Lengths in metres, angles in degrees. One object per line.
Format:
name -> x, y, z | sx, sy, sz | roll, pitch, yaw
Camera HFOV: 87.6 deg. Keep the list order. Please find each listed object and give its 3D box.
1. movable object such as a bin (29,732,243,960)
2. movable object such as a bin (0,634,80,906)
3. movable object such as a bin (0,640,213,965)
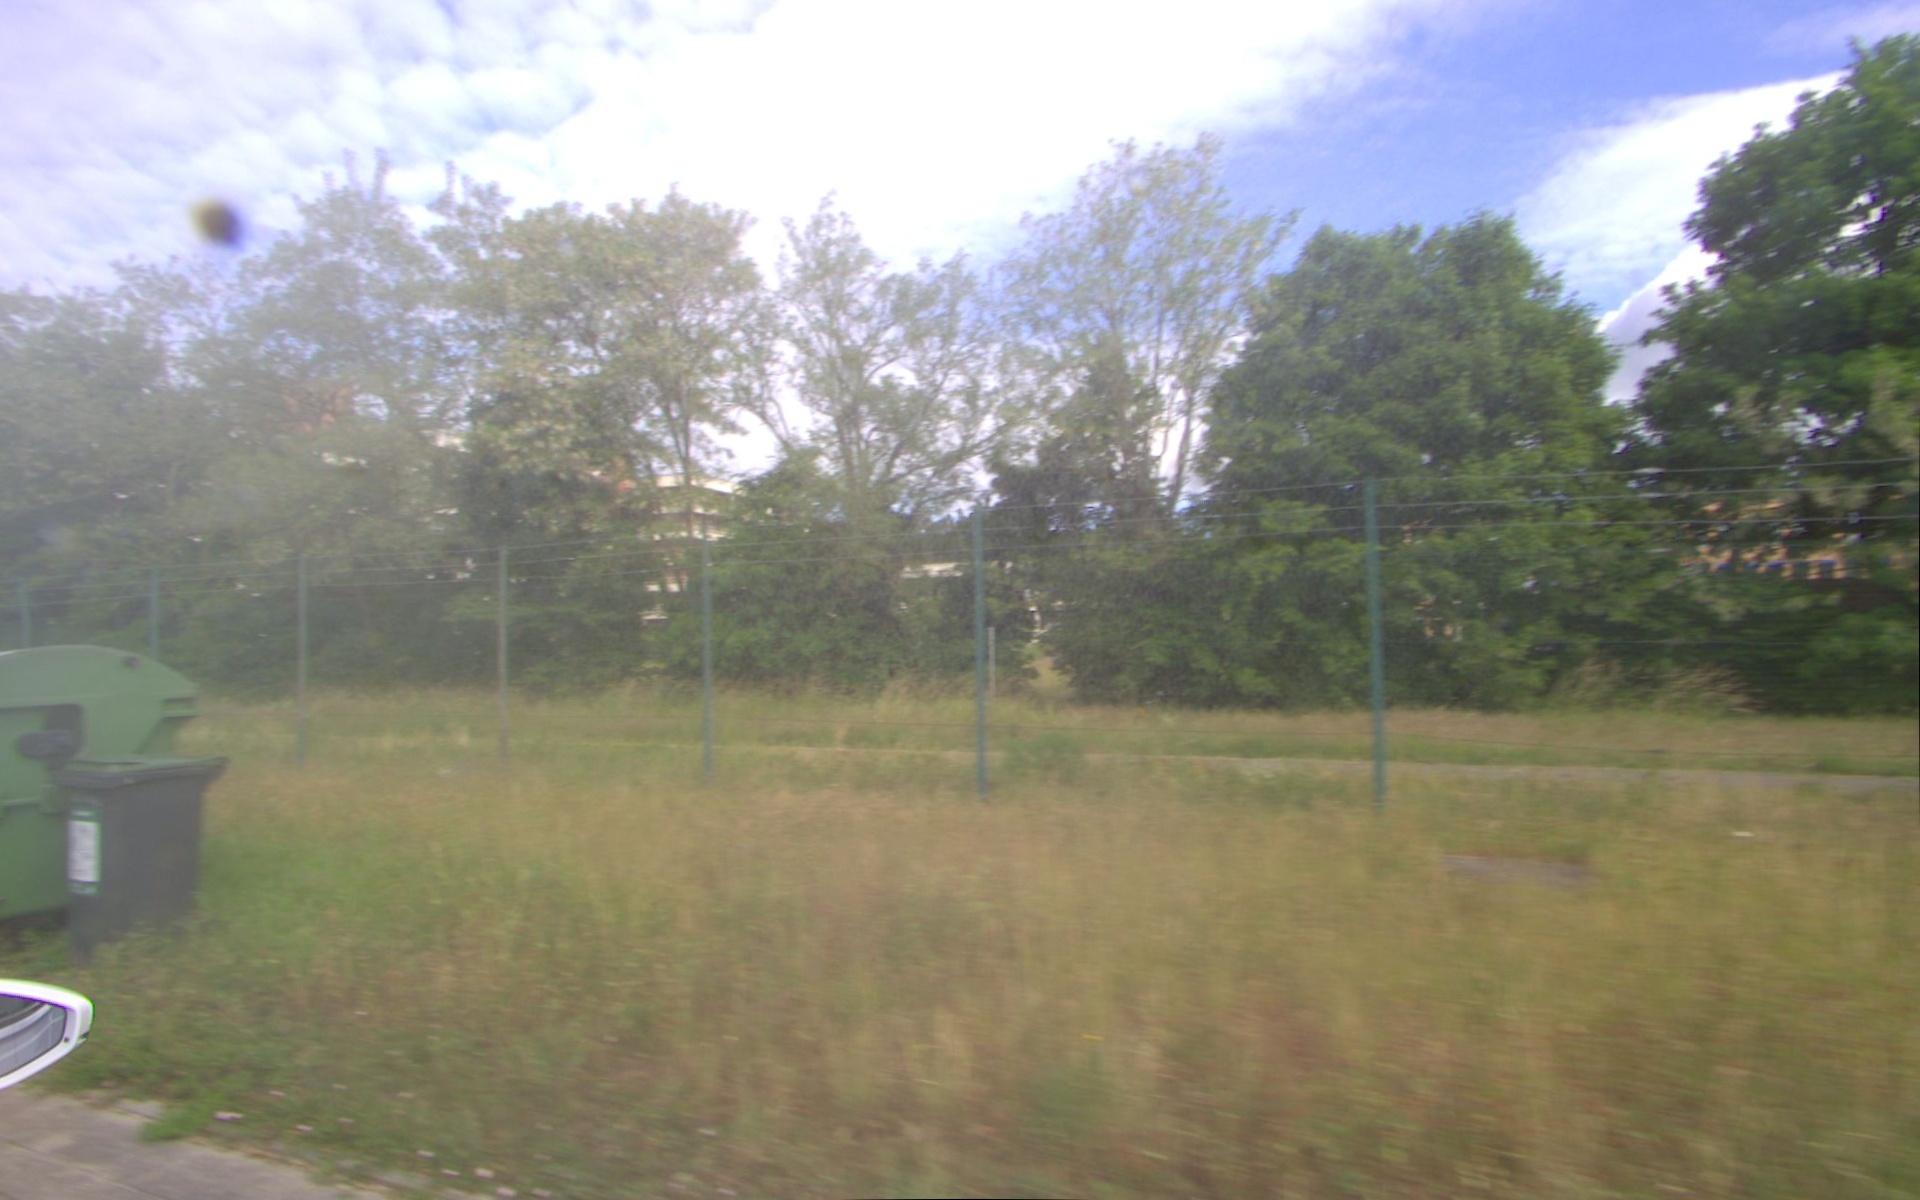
movable object such as a bin -> -3.745, 1.074, 4.567 | 0.577, 0.876, 0.599 | -3, -3, 31
movable object such as a bin -> -5.842, 0.932, 5.498 | 1.376, 1.452, 1.069 | -2, -3, 26
movable object such as a bin -> -4.634, 0.921, 4.930 | 1.337, 1.413, 1.127 | -3, -3, 32
